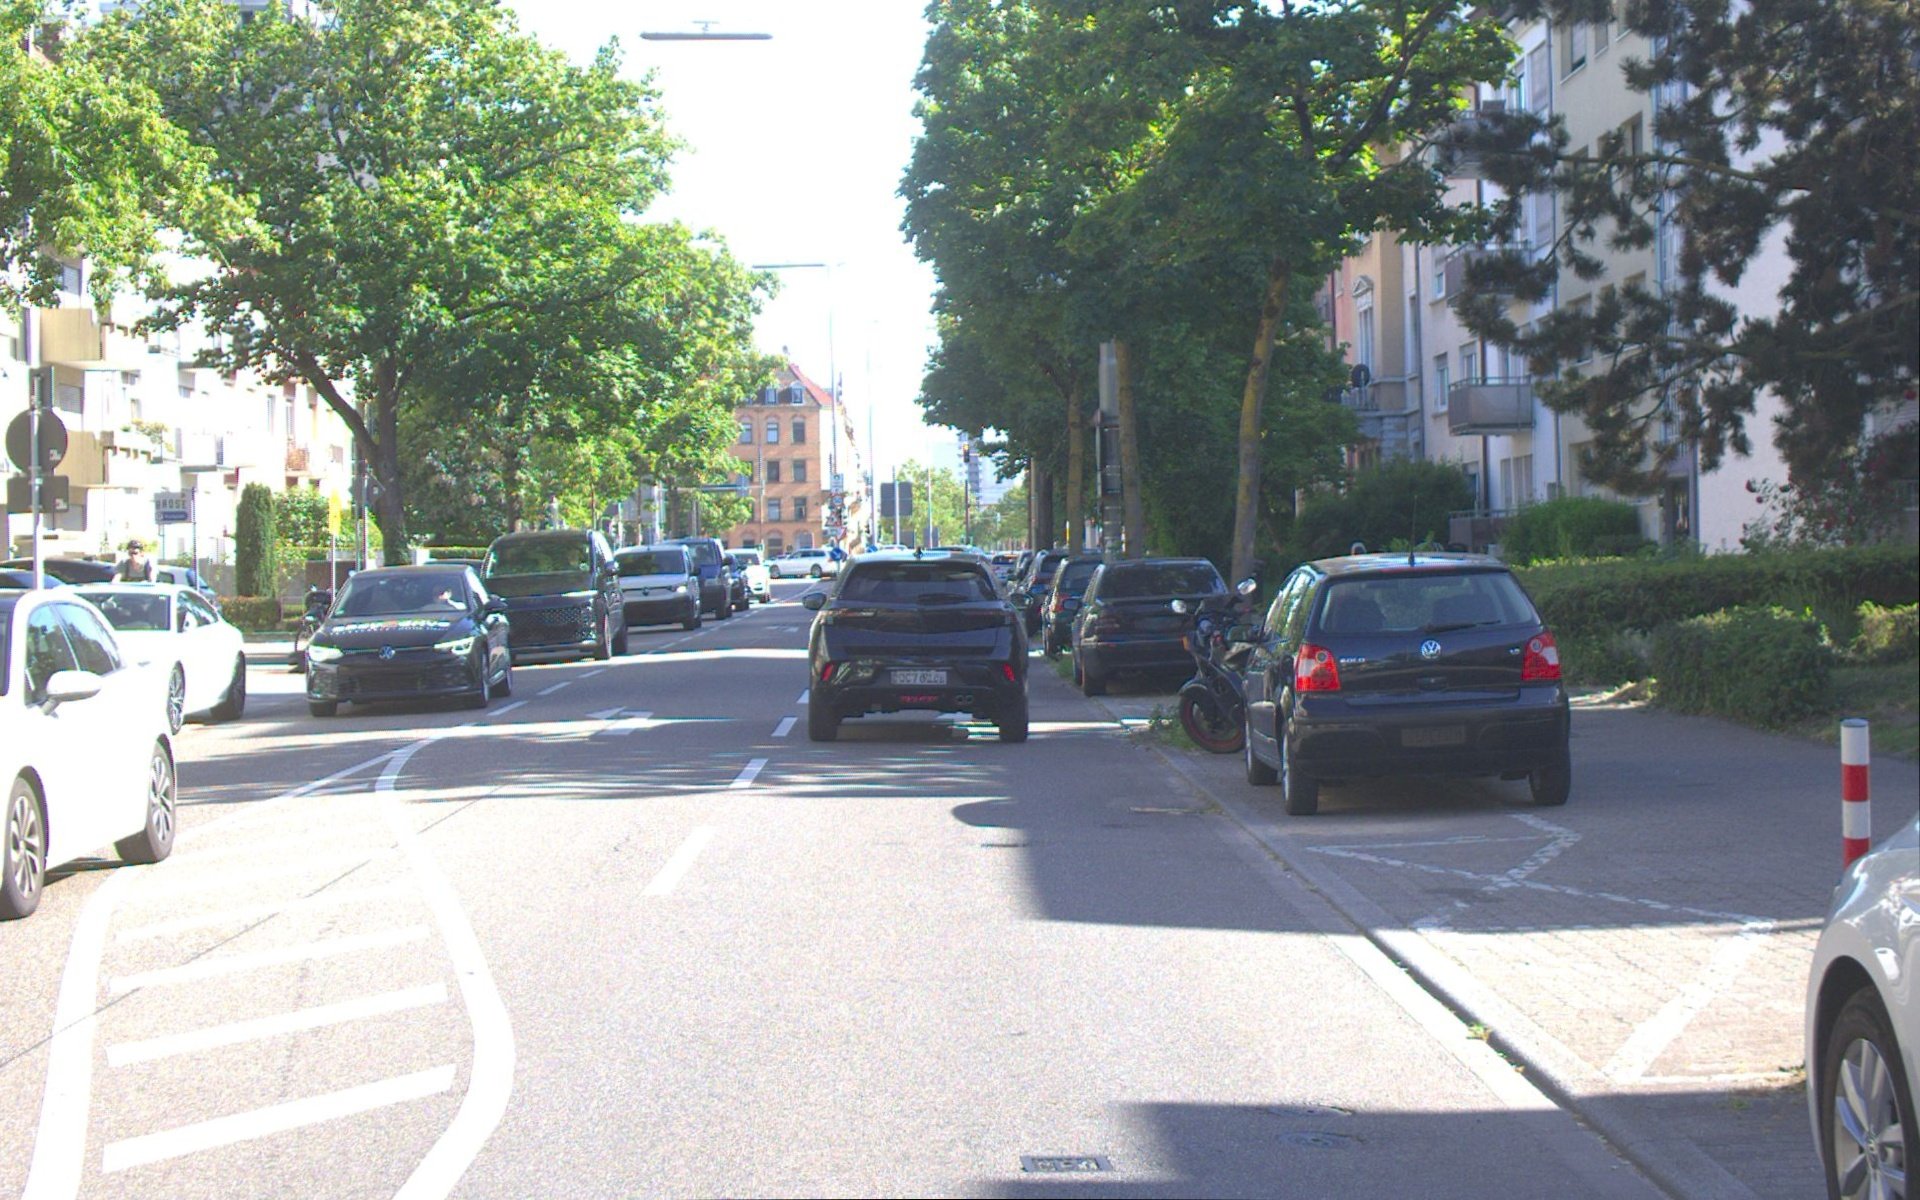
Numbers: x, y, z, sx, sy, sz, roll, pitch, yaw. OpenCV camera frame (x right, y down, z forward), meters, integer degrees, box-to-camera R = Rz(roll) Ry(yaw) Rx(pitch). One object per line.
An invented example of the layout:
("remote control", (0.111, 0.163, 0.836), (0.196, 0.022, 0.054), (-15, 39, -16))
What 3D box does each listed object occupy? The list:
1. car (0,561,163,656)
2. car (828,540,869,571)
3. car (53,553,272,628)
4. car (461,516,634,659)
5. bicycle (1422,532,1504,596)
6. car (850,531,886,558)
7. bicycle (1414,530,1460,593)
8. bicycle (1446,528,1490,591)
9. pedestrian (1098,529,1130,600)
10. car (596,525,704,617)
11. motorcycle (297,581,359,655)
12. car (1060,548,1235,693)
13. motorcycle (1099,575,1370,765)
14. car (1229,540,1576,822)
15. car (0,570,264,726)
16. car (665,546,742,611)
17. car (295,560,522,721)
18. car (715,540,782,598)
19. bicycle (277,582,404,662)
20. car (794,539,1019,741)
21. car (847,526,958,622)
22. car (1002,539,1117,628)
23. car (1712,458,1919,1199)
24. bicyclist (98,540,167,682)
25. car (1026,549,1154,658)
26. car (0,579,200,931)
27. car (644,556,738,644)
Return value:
("car", (-14.965, 0.114, 54.965), (3.990, 1.451, 1.731), (0, 1, 18))
("car", (-5.464, -2.199, 168.404), (1.772, 1.447, 3.885), (-1, 1, 1))
("car", (-16.041, -0.202, 69.261), (3.987, 1.481, 1.881), (0, 1, -1))
("car", (-6.115, -0.225, 51.511), (2.016, 1.945, 5.179), (-3, 1, -2))
("bicycle", (10.372, -0.734, 70.885), (1.537, 1.218, 0.463), (-3, 1, 30))
("car", (-5.086, -3.090, 191.368), (1.772, 1.447, 3.885), (-1, 1, 2))
("bicycle", (10.055, -0.817, 72.479), (0.623, 1.283, 1.842), (-4, 1, 0))
("bicycle", (10.718, -0.862, 72.532), (0.591, 1.283, 1.689), (-4, 1, 0))
("pedestrian", (3.659, -0.849, 81.682), (0.669, 1.676, 0.776), (-1, 1, -1))
("car", (-6.352, -0.613, 70.796), (1.815, 1.737, 4.493), (-3, 1, -1))
("motorcycle", (-9.963, 0.278, 54.213), (0.461, 1.122, 1.717), (0, 1, 7))
("car", (1.968, 0.177, 37.040), (1.586, 1.391, 4.454), (-3, 1, 0))
("motorcycle", (1.942, 0.483, 24.792), (0.697, 1.267, 2.432), (-3, 1, -28))
("car", (2.570, 0.414, 20.682), (1.620, 1.494, 3.649), (-2, 1, 1))
("car", (-8.192, 0.416, 33.724), (1.833, 1.384, 4.802), (0, 1, -1))
("car", (-6.820, -0.594, 91.758), (1.719, 1.560, 4.343), (-4, 1, -1))
("car", (-5.654, 0.372, 35.677), (1.691, 1.448, 4.174), (-3, 1, -1))
("car", (-6.445, -0.969, 105.054), (1.806, 1.642, 4.673), (-3, 1, -1))
("bicycle", (-8.976, 0.313, 49.805), (1.933, 1.131, 0.461), (1, 1, 27))
("car", (-0.443, 0.288, 28.666), (1.745, 1.568, 3.558), (0, 1, -1))
("car", (-0.973, -0.472, 59.587), (1.830, 1.573, 3.839), (-1, 1, 0))
("car", (1.727, -0.321, 60.870), (1.714, 1.484, 4.235), (-1, 1, -2))
("car", (2.597, 0.561, 5.192), (1.768, 1.653, 4.342), (-2, 1, -2))
("bicyclist", (-10.821, 0.138, 44.942), (0.658, 1.818, 1.055), (-2, 1, -23))
("car", (1.816, 0.012, 48.317), (1.692, 1.423, 4.147), (-1, 1, 2))
("car", (-4.868, 0.678, 15.927), (1.733, 1.407, 4.192), (-3, 1, -1))
("car", (-6.354, -0.025, 81.627), (1.803, 1.904, 4.712), (-3, 1, -1))
